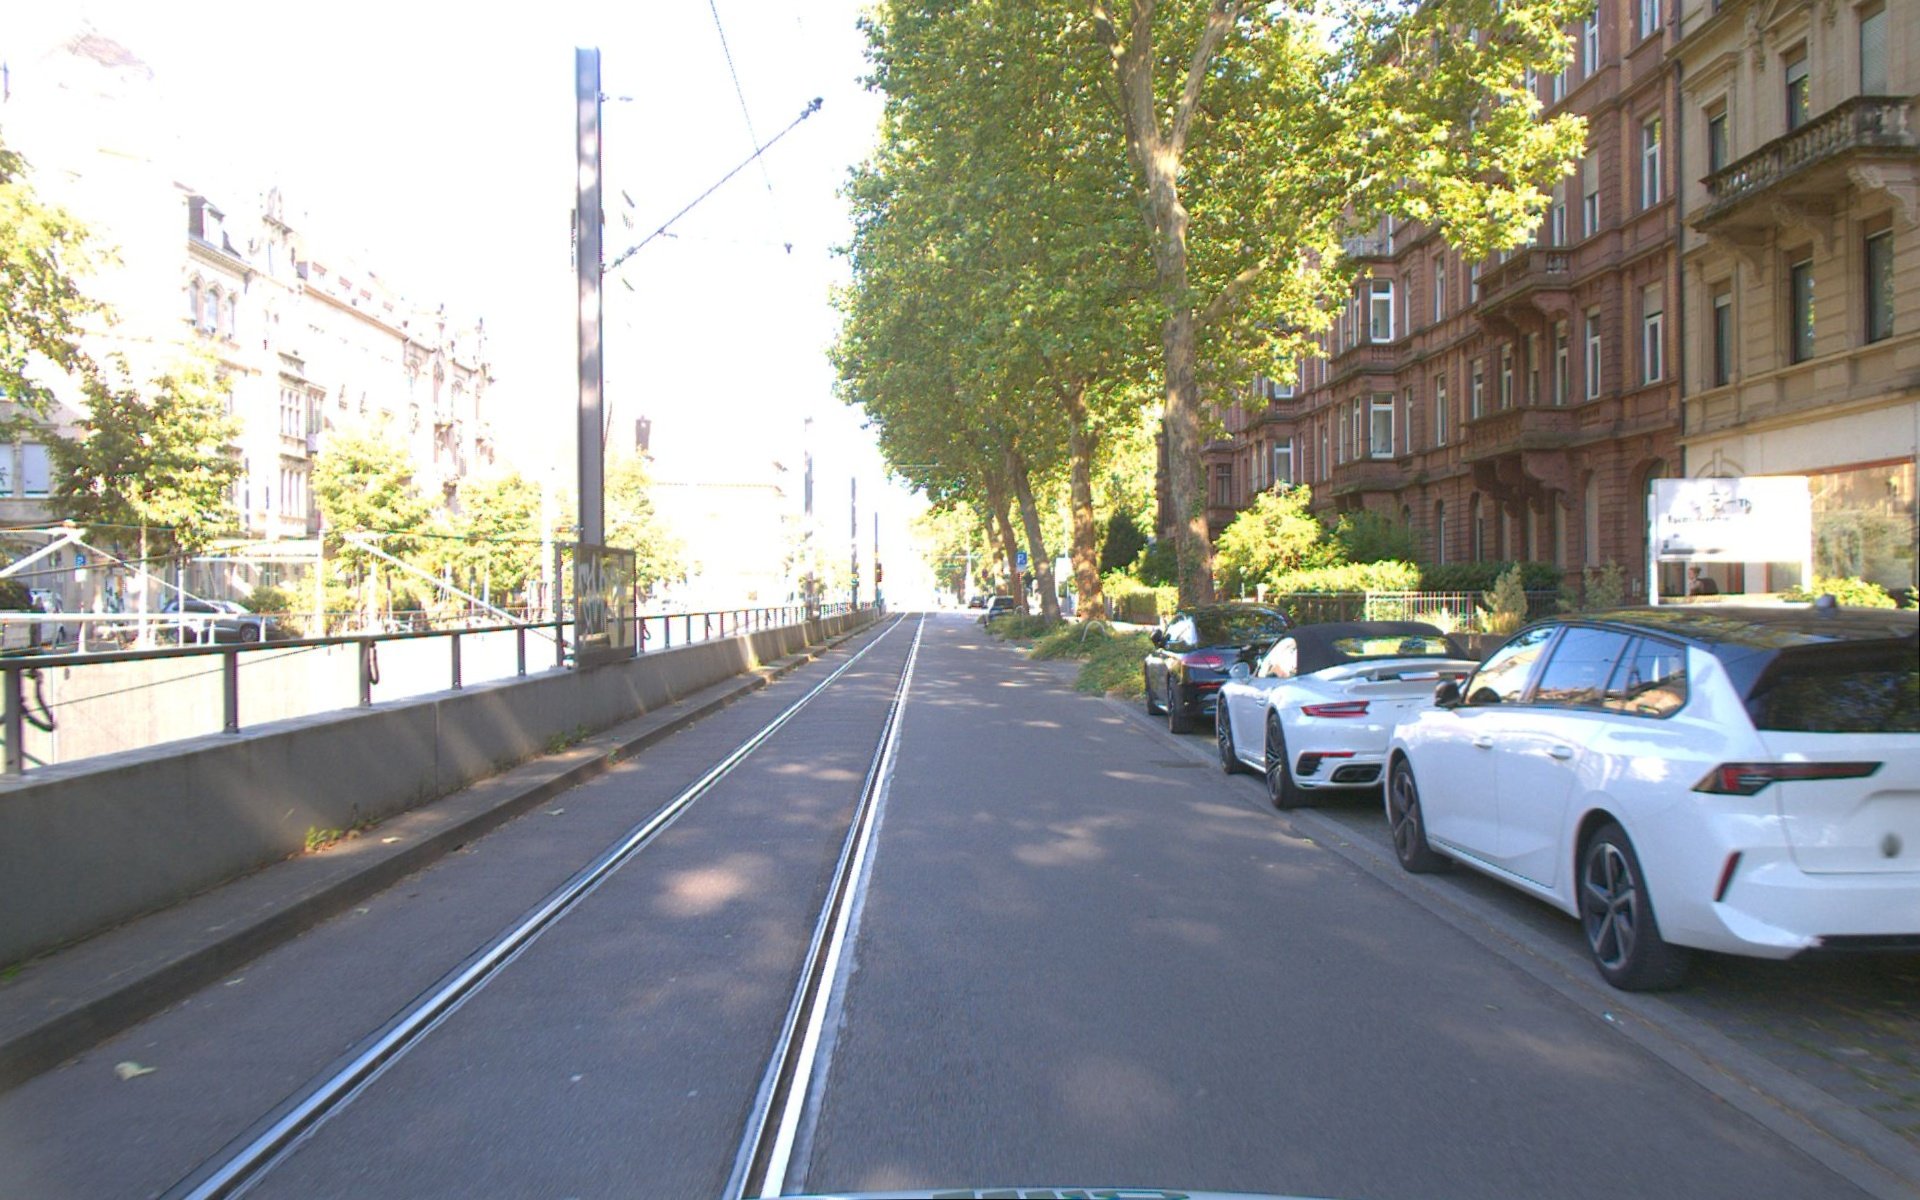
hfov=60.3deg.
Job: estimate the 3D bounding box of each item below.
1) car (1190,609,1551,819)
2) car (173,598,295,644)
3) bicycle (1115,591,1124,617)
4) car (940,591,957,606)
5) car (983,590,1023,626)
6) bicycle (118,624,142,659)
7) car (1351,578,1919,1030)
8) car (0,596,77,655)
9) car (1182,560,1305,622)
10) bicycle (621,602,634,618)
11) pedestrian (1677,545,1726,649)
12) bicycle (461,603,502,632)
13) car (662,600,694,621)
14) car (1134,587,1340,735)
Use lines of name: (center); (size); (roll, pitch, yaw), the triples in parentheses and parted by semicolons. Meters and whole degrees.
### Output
car: (3.035, 0.774, 13.088); (1.793, 1.350, 3.999); (0, 0, -1)
car: (-27.705, 0.799, 63.215); (3.915, 1.653, 1.821); (1, 0, -10)
bicycle: (8.049, 0.194, 83.567); (0.330, 1.271, 1.767); (2, 0, 3)
car: (-1.246, -0.192, 175.188); (1.710, 1.487, 3.643); (2, 0, -2)
car: (1.974, 0.367, 77.568); (1.584, 1.615, 4.415); (-2, 0, -2)
bicycle: (-24.816, 1.257, 49.449); (0.449, 1.023, 1.923); (2, -3, -32)
car: (3.354, 0.670, 7.874); (1.766, 1.503, 4.645); (0, 0, -2)
car: (-32.409, 0.840, 57.389); (1.959, 1.881, 4.466); (2, 0, -13)
car: (10.501, -0.322, 61.390); (4.093, 2.048, 1.999); (-3, 0, -3)
bicycle: (-22.759, 0.679, 113.171); (0.479, 1.040, 1.878); (2, 0, -25)
pedestrian: (14.842, -0.061, 33.122); (0.659, 2.049, 0.633); (-1, 0, -2)
bicycle: (-22.039, 0.816, 76.242); (1.694, 1.302, 0.600); (-1, 0, 5)
car: (-22.717, 0.866, 133.377); (1.680, 1.582, 4.510); (2, 0, 1)
car: (3.203, 0.644, 20.030); (1.696, 1.563, 4.805); (0, 0, 0)
